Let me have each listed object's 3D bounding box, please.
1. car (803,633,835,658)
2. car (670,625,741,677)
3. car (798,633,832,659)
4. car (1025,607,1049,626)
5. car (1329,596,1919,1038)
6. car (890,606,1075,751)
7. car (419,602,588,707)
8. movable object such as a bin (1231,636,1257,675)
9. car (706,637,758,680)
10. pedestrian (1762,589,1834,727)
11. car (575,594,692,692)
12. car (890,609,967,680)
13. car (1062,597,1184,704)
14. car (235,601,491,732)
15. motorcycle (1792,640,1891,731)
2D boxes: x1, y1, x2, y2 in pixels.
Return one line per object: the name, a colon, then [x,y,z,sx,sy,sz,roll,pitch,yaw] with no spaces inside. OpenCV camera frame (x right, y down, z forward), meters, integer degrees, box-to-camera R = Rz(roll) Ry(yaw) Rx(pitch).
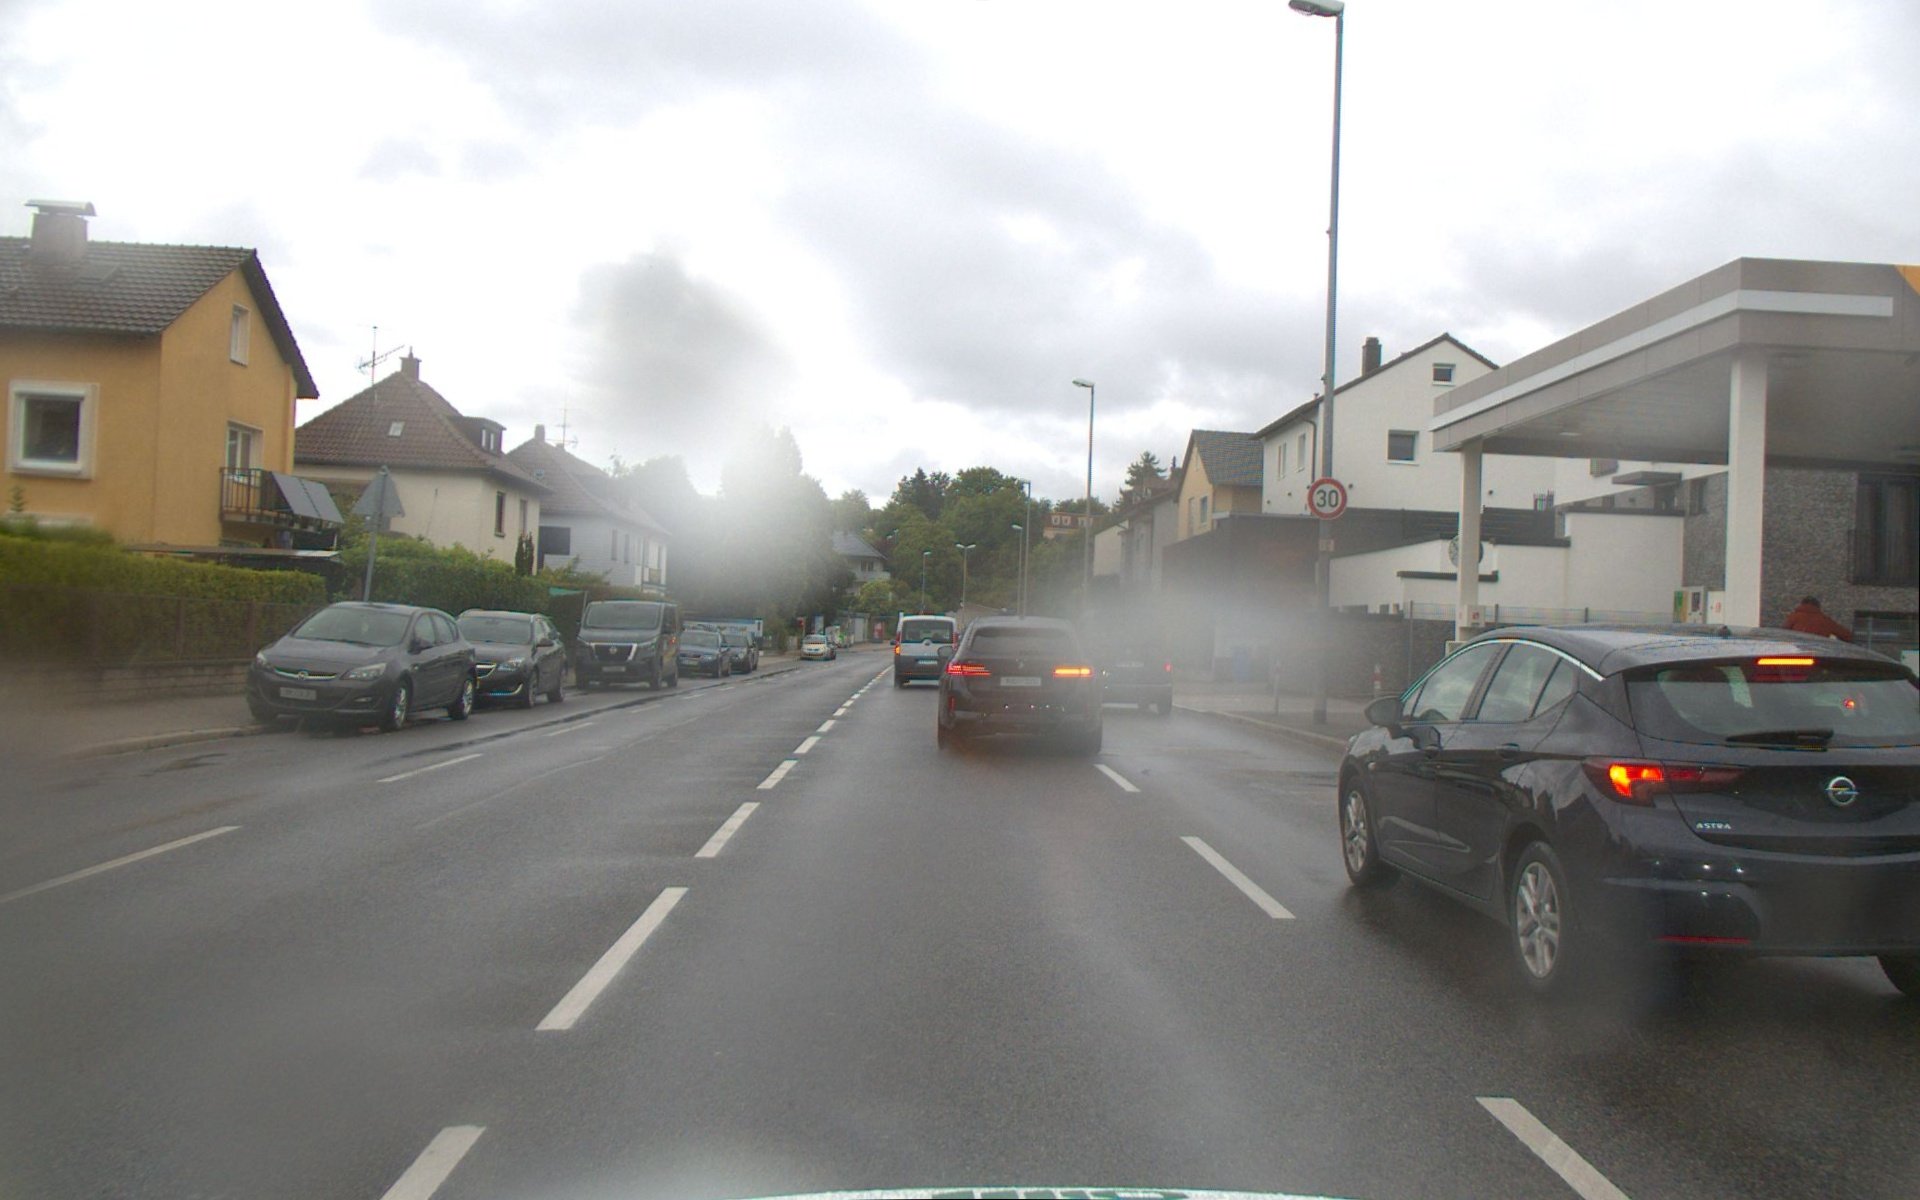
car: [-9.546,3.101,112.346,1.846,1.613,3.999,1,-2,-1]
car: [-8.085,1.617,52.883,1.722,1.559,4.284,1,-2,-2]
car: [-9.226,2.952,105.603,1.846,1.613,3.999,1,-2,-1]
car: [10.426,2.273,224.513,2.472,2.048,5.605,3,3,-5]
car: [3.092,0.749,7.666,1.721,1.474,3.998,1,0,-2]
car: [0.239,0.898,19.686,1.953,1.510,3.999,1,-2,0]
car: [-7.383,0.883,27.161,1.715,1.543,4.524,1,-2,-3]
movable object such as a bin: [8.355,1.633,48.665,0.583,1.124,0.667,-1,-1,-2]
car: [-8.125,2.069,59.174,1.520,1.456,4.011,1,-2,-3]
pedestrian: [10.443,0.721,20.629,0.597,1.685,0.585,1,-2,-1]
car: [-7.343,0.985,37.682,1.875,2.038,5.083,1,-2,-3]
car: [-0.831,1.198,44.435,1.953,1.768,3.999,1,-2,-1]
car: [2.932,0.929,30.484,1.801,1.798,3.999,1,-2,-1]
car: [-7.395,0.816,20.935,1.714,1.465,4.129,1,-2,0]
motorcycle: [10.848,1.041,20.388,0.453,1.074,1.390,1,-2,-1]
